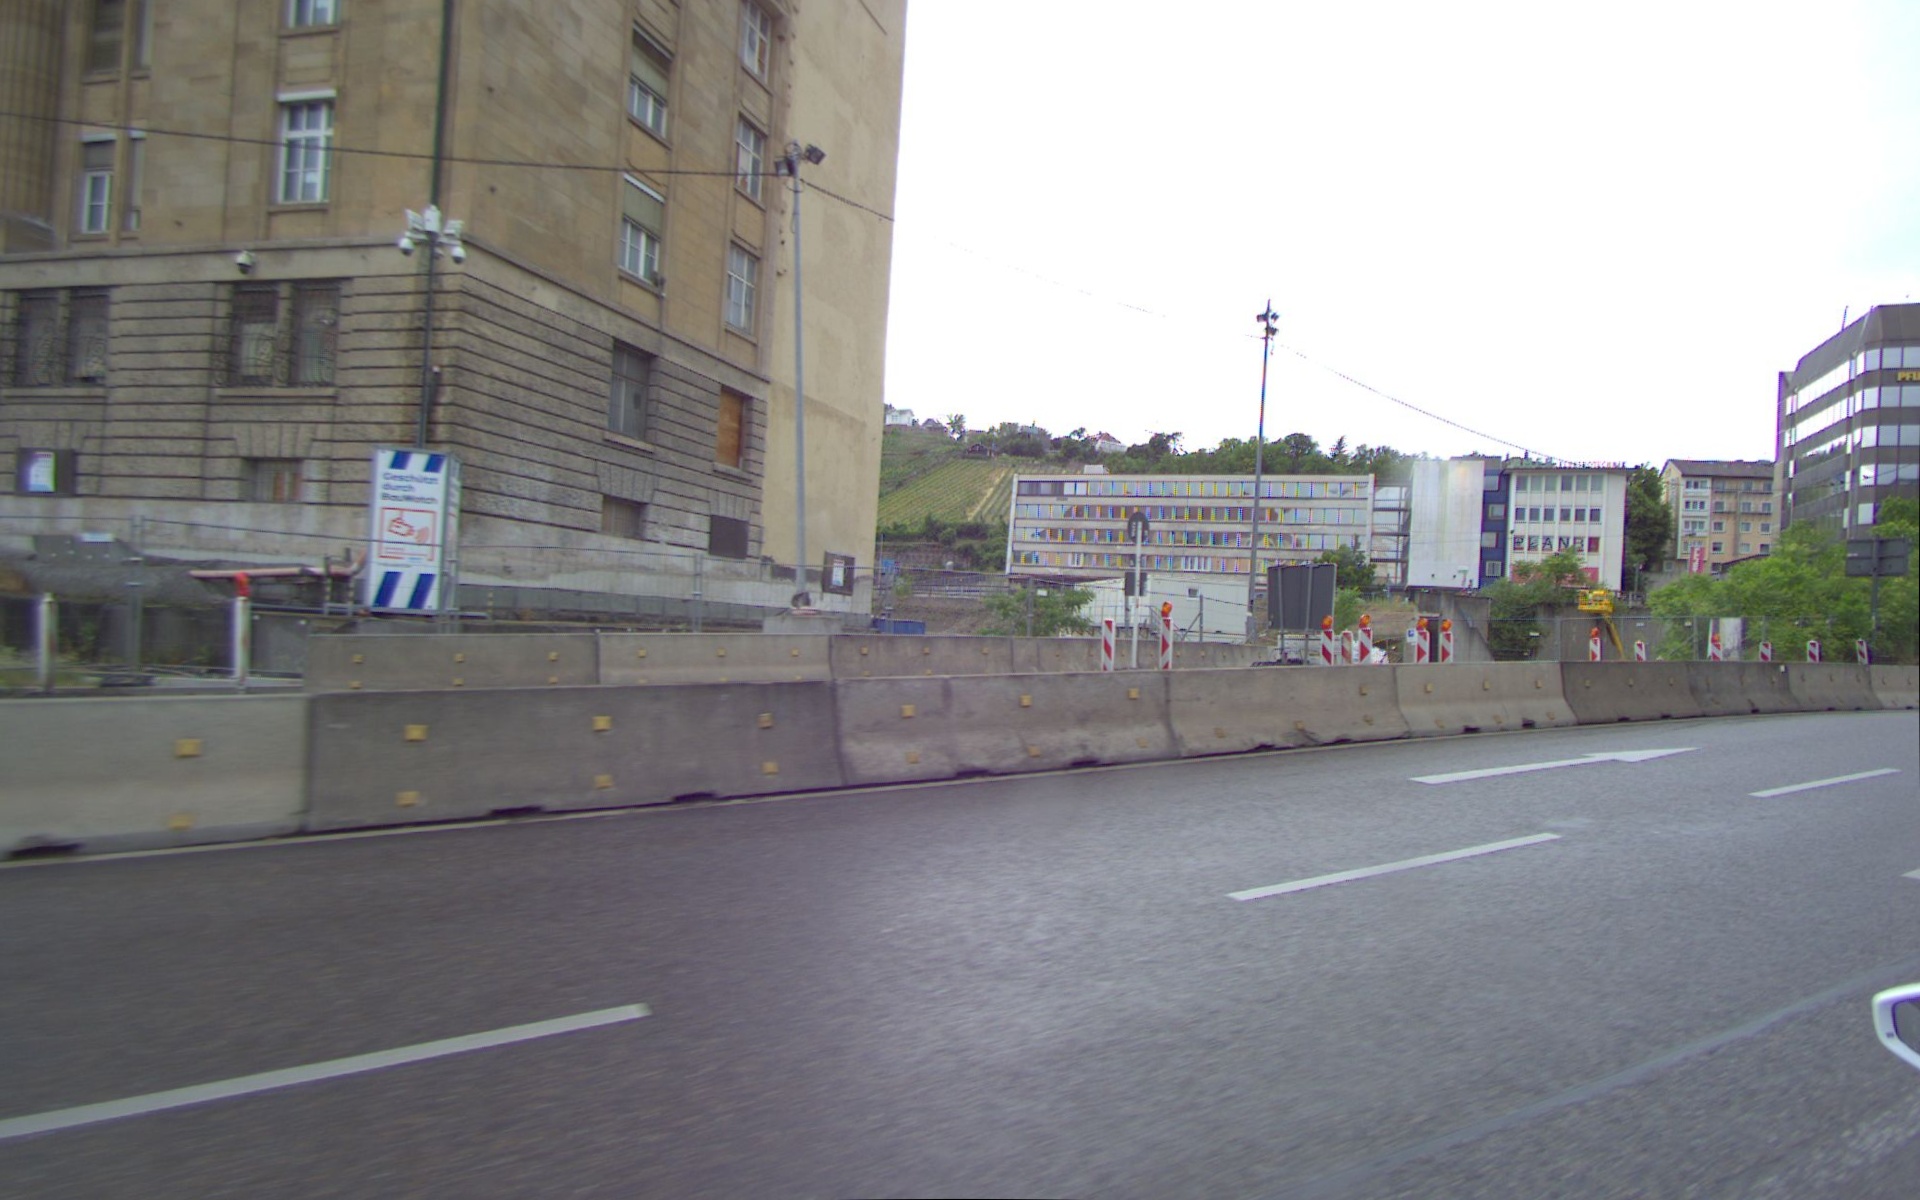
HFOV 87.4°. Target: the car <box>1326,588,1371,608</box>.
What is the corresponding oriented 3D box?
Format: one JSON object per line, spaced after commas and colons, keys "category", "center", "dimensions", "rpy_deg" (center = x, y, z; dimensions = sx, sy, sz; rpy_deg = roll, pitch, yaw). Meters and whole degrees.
{"category": "car", "center": [37.261, -0.193, 96.419], "dimensions": [3.923, 1.728, 2.000], "rpy_deg": [2, -1, 23]}
